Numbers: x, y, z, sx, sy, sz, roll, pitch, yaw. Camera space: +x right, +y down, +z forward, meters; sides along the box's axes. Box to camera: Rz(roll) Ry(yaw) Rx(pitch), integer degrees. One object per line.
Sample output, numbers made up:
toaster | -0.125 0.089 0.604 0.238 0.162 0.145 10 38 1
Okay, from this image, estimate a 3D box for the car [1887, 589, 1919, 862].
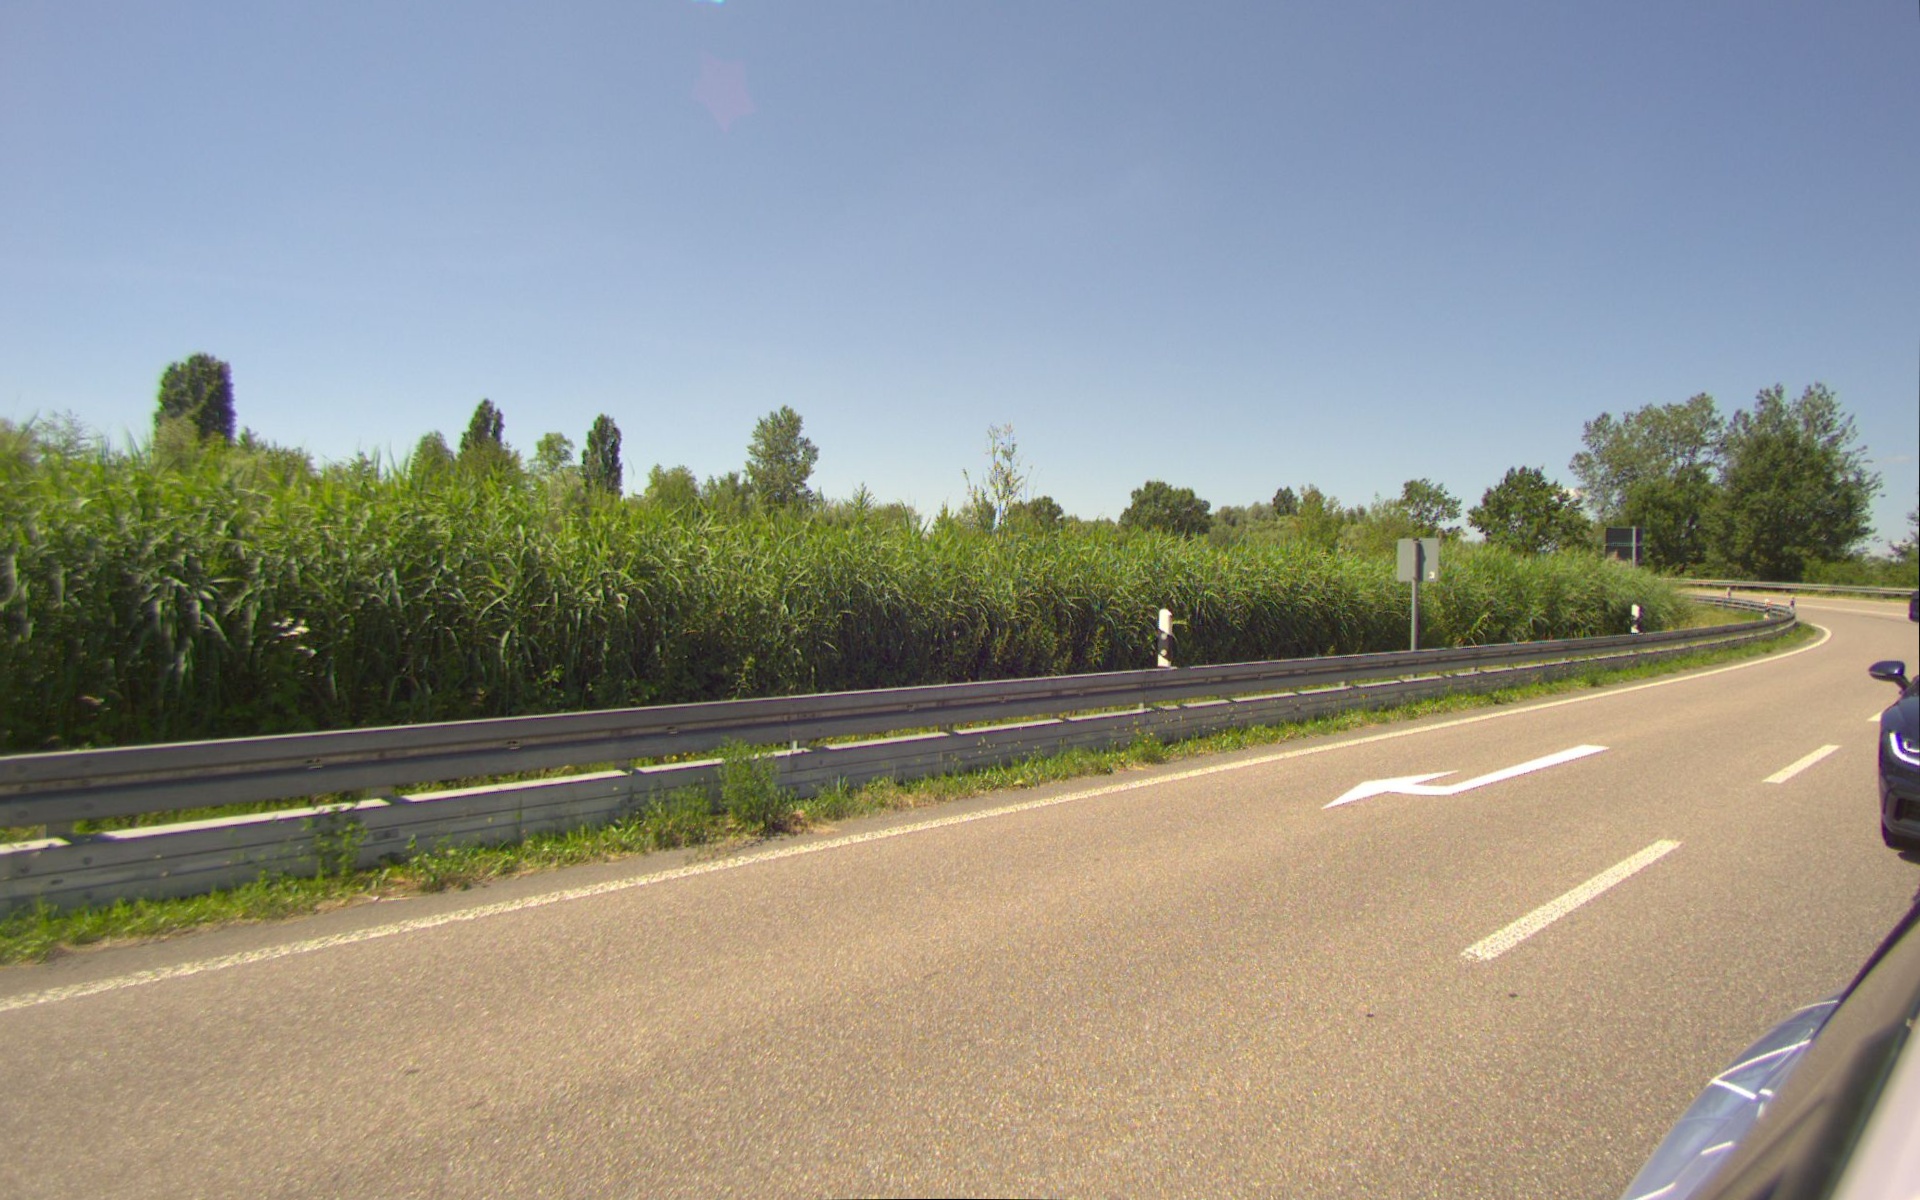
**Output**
car | 7.023 0.642 6.050 3.930 1.427 1.759 -1 1 -41
